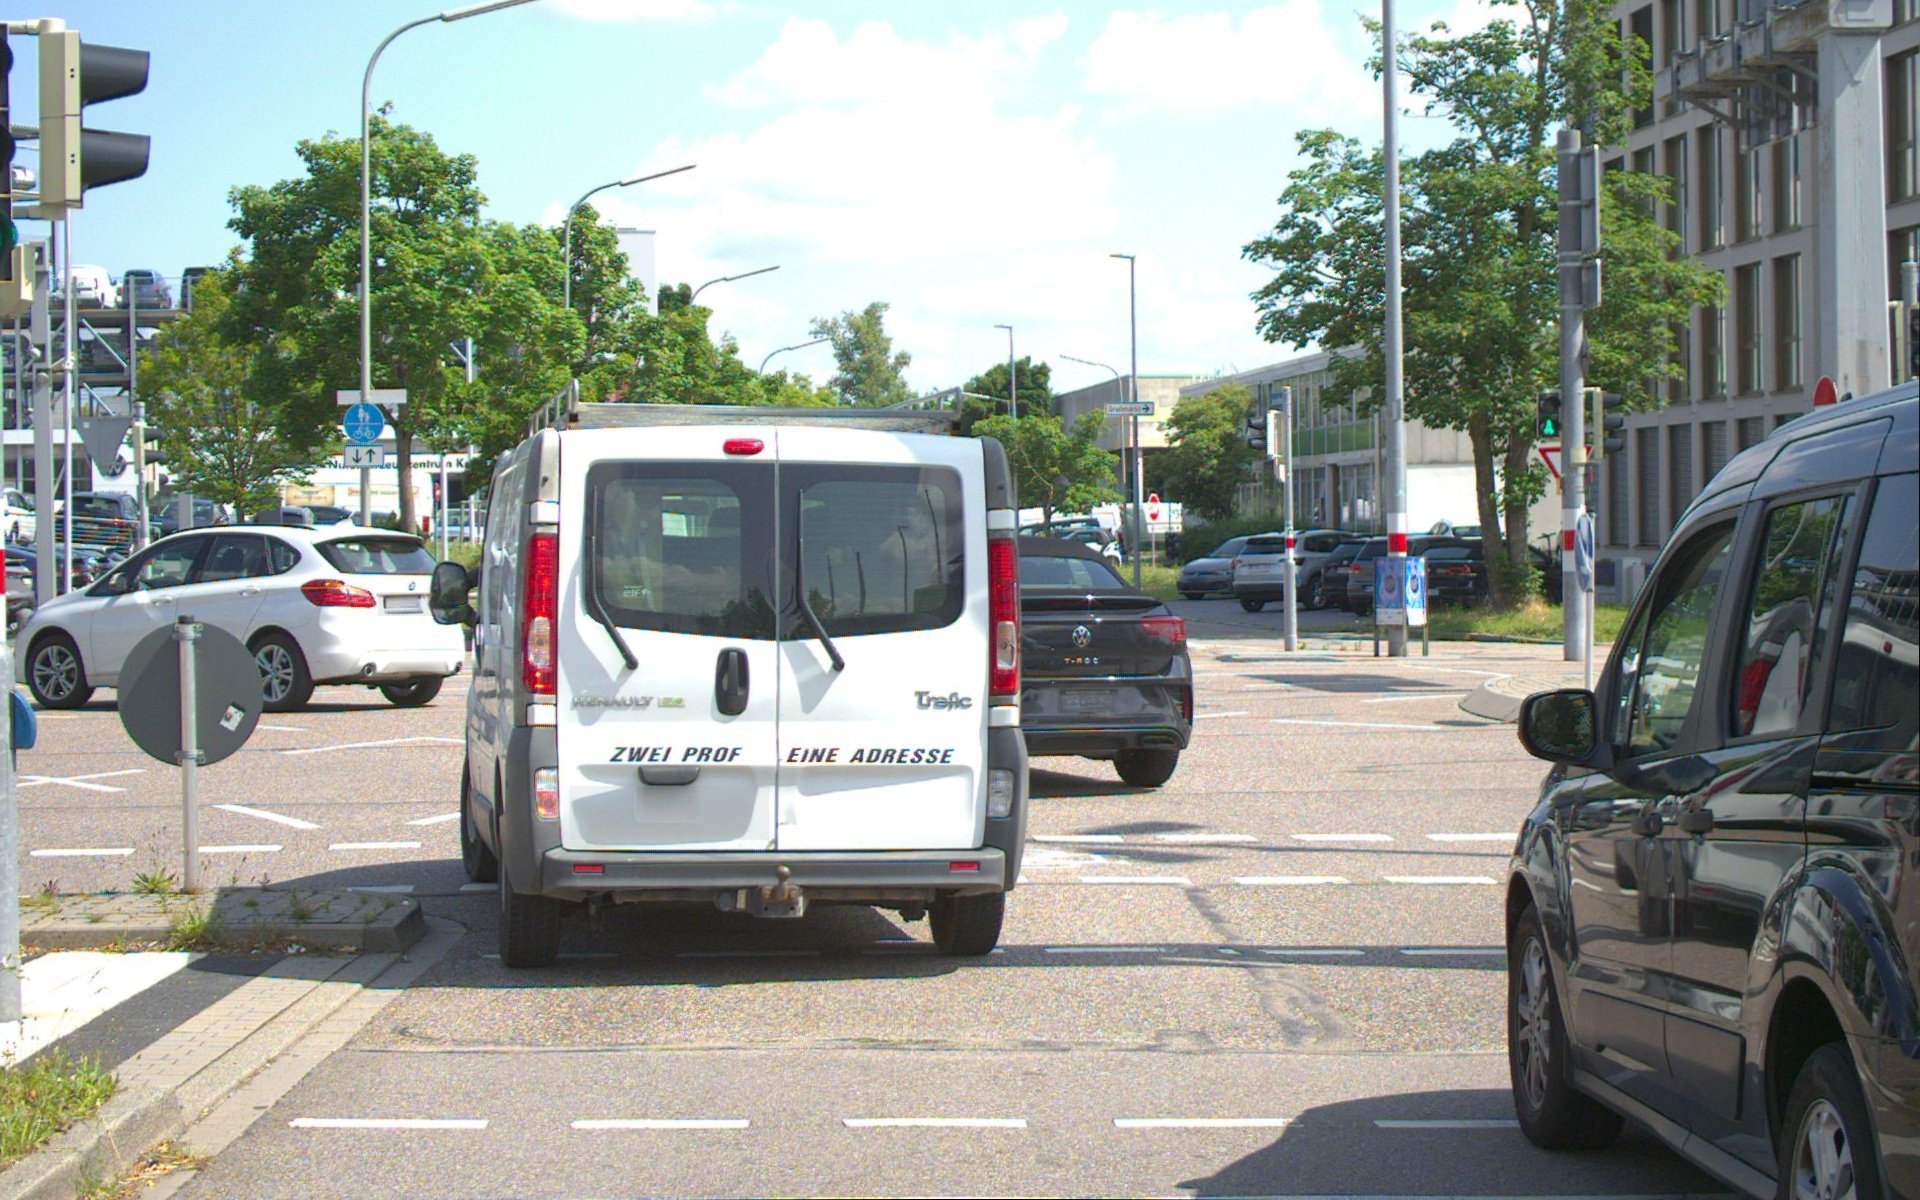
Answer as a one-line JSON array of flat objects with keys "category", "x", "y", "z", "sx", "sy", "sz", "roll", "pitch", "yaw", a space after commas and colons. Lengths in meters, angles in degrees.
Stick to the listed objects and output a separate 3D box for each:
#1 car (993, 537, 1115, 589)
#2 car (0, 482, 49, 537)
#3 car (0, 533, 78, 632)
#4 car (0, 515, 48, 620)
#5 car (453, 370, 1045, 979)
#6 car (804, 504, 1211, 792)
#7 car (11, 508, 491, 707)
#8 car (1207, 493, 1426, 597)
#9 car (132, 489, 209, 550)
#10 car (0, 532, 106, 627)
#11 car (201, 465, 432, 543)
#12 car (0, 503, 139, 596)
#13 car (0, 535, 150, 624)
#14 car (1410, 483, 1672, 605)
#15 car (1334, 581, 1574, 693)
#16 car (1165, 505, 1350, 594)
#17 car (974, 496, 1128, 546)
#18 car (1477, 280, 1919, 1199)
[{"category": "car", "x": 3.279, "y": -1.290, "z": 120.603, "sx": 3.986, "sy": 1.744, "sz": 2.000, "roll": 1, "pitch": 0, "yaw": -9}, {"category": "car", "x": -28.311, "y": -2.622, "z": 98.907, "sx": 3.986, "sy": 1.547, "sz": 1.765, "roll": 1, "pitch": 0, "yaw": -12}, {"category": "car", "x": -17.520, "y": -0.310, "z": 58.523, "sx": 4.574, "sy": 1.672, "sz": 1.907, "roll": 0, "pitch": 0, "yaw": -4}, {"category": "car", "x": -17.363, "y": -0.547, "z": 55.975, "sx": 4.574, "sy": 1.672, "sz": 1.907, "roll": 1, "pitch": 0, "yaw": -4}, {"category": "car", "x": -1.042, "y": 0.225, "z": 14.007, "sx": 1.972, "sy": 2.053, "sz": 4.566, "roll": 0, "pitch": 1, "yaw": -9}, {"category": "car", "x": 0.188, "y": 0.245, "z": 21.506, "sx": 1.773, "sy": 1.624, "sz": 4.001, "roll": 0, "pitch": 1, "yaw": -11}, {"category": "car", "x": -6.159, "y": 0.042, "z": 29.722, "sx": 3.995, "sy": 1.612, "sz": 1.774, "roll": 1, "pitch": 0, "yaw": 34}, {"category": "car", "x": 7.185, "y": -1.091, "z": 69.501, "sx": 3.986, "sy": 2.007, "sz": 2.000, "roll": 1, "pitch": 0, "yaw": -9}, {"category": "car", "x": -21.085, "y": -2.137, "z": 91.857, "sx": 1.560, "sy": 1.547, "sz": 3.603, "roll": 1, "pitch": 0, "yaw": -6}, {"category": "car", "x": -17.680, "y": -0.373, "z": 61.158, "sx": 4.574, "sy": 1.672, "sz": 1.907, "roll": 0, "pitch": 0, "yaw": -4}, {"category": "car", "x": -18.463, "y": -2.750, "z": 98.845, "sx": 6.386, "sy": 2.095, "sz": 1.765, "roll": 1, "pitch": 0, "yaw": -5}, {"category": "car", "x": -17.744, "y": -0.938, "z": 63.865, "sx": 4.574, "sy": 1.672, "sz": 1.907, "roll": 1, "pitch": 0, "yaw": -4}, {"category": "car", "x": -18.167, "y": -0.397, "z": 66.581, "sx": 4.574, "sy": 1.672, "sz": 1.907, "roll": 1, "pitch": 0, "yaw": -4}, {"category": "car", "x": 9.957, "y": -0.952, "z": 59.071, "sx": 3.986, "sy": 2.007, "sz": 2.000, "roll": 1, "pitch": 0, "yaw": -9}, {"category": "car", "x": 9.179, "y": 0.678, "z": 64.000, "sx": 3.986, "sy": 2.007, "sz": 2.000, "roll": 1, "pitch": 0, "yaw": -9}, {"category": "car", "x": 7.024, "y": -1.182, "z": 81.363, "sx": 3.986, "sy": 2.007, "sz": 2.000, "roll": 1, "pitch": 0, "yaw": -9}, {"category": "car", "x": 3.844, "y": -3.341, "z": 145.661, "sx": 6.340, "sy": 2.007, "sz": 2.573, "roll": 1, "pitch": 0, "yaw": -3}, {"category": "car", "x": 2.330, "y": 0.440, "z": 7.111, "sx": 1.823, "sy": 1.898, "sz": 4.000, "roll": 0, "pitch": 1, "yaw": -1}]
